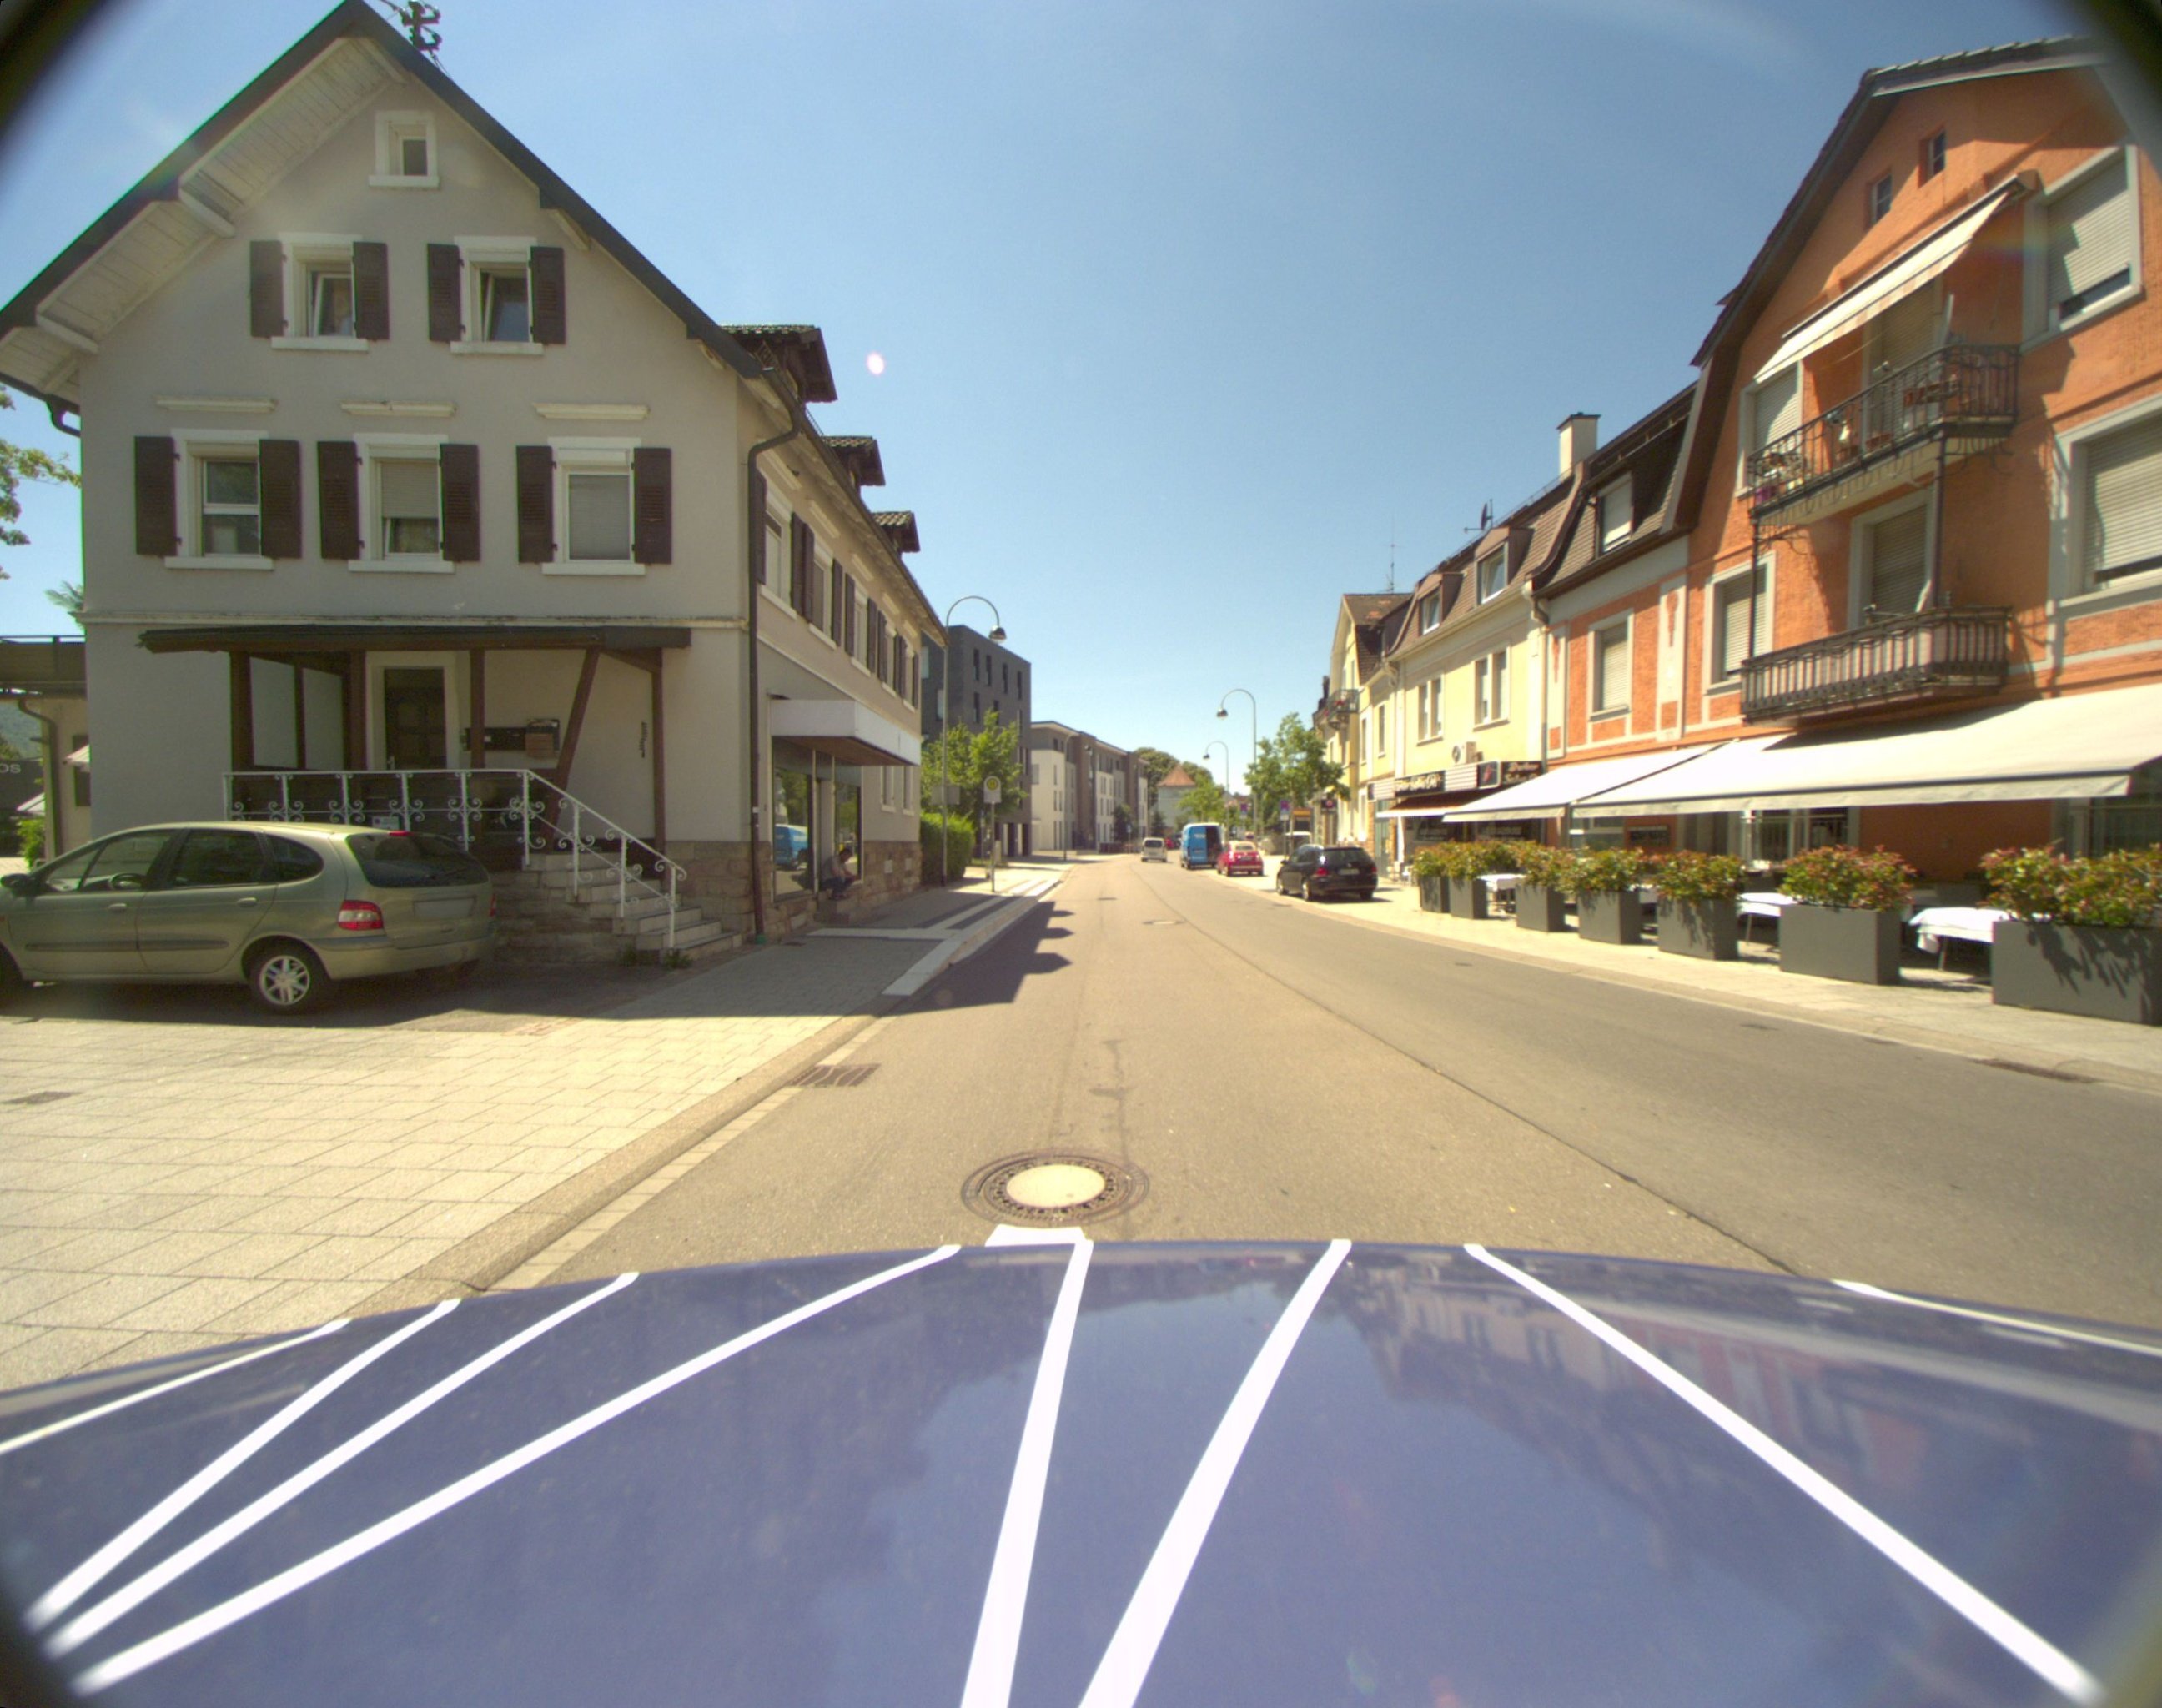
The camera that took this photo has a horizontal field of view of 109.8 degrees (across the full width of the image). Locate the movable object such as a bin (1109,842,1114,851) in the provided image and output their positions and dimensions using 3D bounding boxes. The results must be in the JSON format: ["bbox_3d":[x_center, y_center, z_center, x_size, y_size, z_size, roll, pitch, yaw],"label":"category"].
[{"bbox_3d":[3.401,-0.828,84.435,0.473,0.925,0.529,2,3,18],"label":"movable object such as a bin"}]

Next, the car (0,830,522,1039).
[{"bbox_3d":[-7.890,0.627,7.064,4.071,1.586,1.802,2,2,1],"label":"car"}]

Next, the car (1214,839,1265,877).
[{"bbox_3d":[7.078,0.143,34.209,1.563,1.512,3.514,-1,2,0],"label":"car"}]

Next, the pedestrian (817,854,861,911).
[{"bbox_3d":[-4.405,0.514,13.872,0.591,0.994,0.723,1,2,-3],"label":"pedestrian"}]

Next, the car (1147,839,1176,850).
[{"bbox_3d":[11.275,-1.326,106.203,3.812,1.454,1.654,1,0,17],"label":"car"}]

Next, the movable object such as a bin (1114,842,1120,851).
[{"bbox_3d":[4.021,-0.808,84.270,0.473,0.925,0.529,2,3,18],"label":"movable object such as a bin"}]

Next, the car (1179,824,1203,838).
[{"bbox_3d":[12.040,-2.459,83.026,1.917,1.418,3.985,0,1,17],"label":"car"}]

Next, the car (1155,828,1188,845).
[{"bbox_3d":[14.427,-2.763,120.673,4.860,2.721,1.853,1,2,18],"label":"car"}]

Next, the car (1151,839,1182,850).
[{"bbox_3d":[12.465,-1.424,110.593,4.352,1.542,1.653,1,2,15],"label":"car"}]

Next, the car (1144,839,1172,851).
[{"bbox_3d":[10.564,-1.250,104.219,3.611,1.454,1.618,2,2,17],"label":"car"}]

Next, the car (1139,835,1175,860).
[{"bbox_3d":[5.832,-0.519,57.767,1.996,1.812,4.420,1,1,15],"label":"car"}]

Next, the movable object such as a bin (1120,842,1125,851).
[{"bbox_3d":[4.594,-0.804,84.135,0.473,0.925,0.529,2,3,18],"label":"movable object such as a bin"}]

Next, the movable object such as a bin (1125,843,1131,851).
[{"bbox_3d":[5.167,-0.777,84.020,0.473,0.925,0.529,2,3,18],"label":"movable object such as a bin"}]

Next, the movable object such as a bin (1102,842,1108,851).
[{"bbox_3d":[2.671,-0.845,84.636,0.473,0.925,0.529,2,3,18],"label":"movable object such as a bin"}]

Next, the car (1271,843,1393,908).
[{"bbox_3d":[6.746,0.501,20.945,1.920,1.473,4.336,-3,1,0],"label":"car"}]

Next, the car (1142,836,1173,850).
[{"bbox_3d":[10.109,-1.468,100.796,3.812,1.776,1.842,1,2,16],"label":"car"}]

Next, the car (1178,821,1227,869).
[{"bbox_3d":[6.765,-0.535,42.809,2.097,2.484,5.503,-2,1,3],"label":"car"}]

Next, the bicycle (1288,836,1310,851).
[{"bbox_3d":[19.363,-0.928,67.570,1.768,1.227,0.616,-2,2,6],"label":"bicycle"}]
